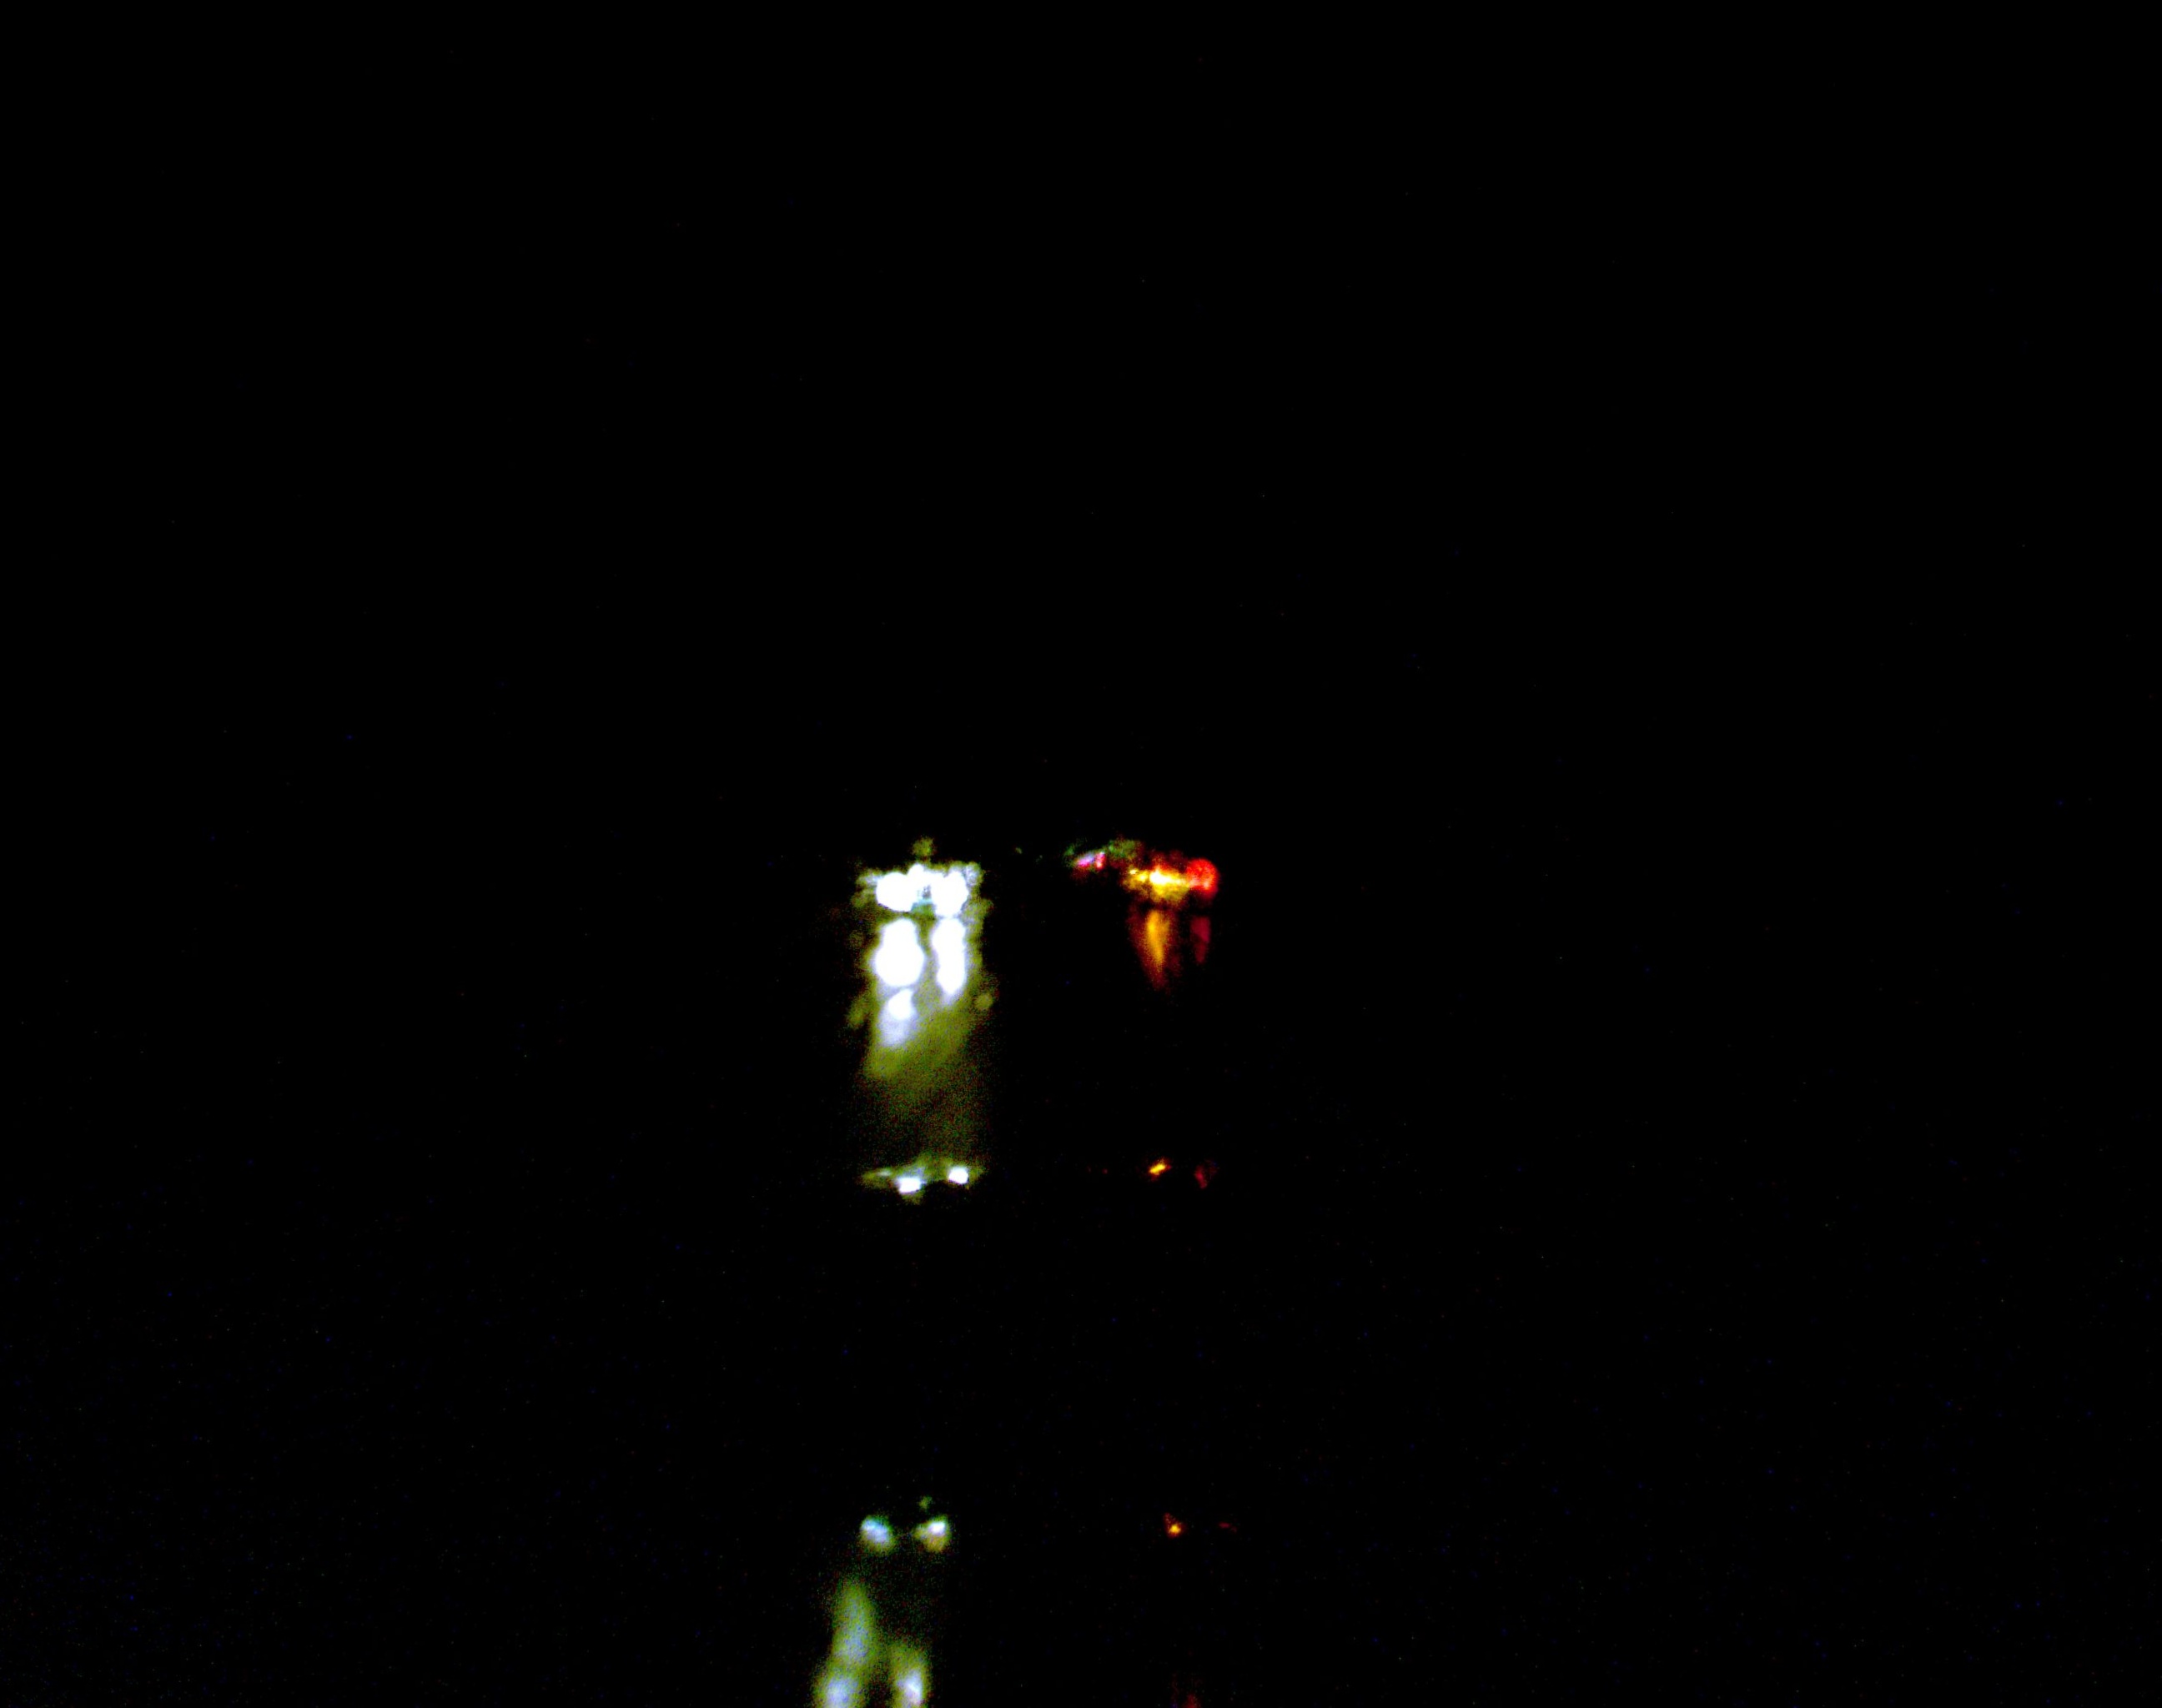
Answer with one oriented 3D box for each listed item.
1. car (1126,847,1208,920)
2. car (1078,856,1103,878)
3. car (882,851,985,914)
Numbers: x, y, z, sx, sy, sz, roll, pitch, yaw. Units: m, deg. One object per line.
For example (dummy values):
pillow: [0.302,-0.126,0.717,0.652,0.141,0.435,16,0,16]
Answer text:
car: [2.497,0.818,24.534,2.086,2.013,4.000,-1,0,0]
car: [0.733,0.990,62.363,1.802,1.621,4.000,-1,0,1]
car: [-3.998,0.732,22.904,1.987,1.576,4.662,-1,0,1]
